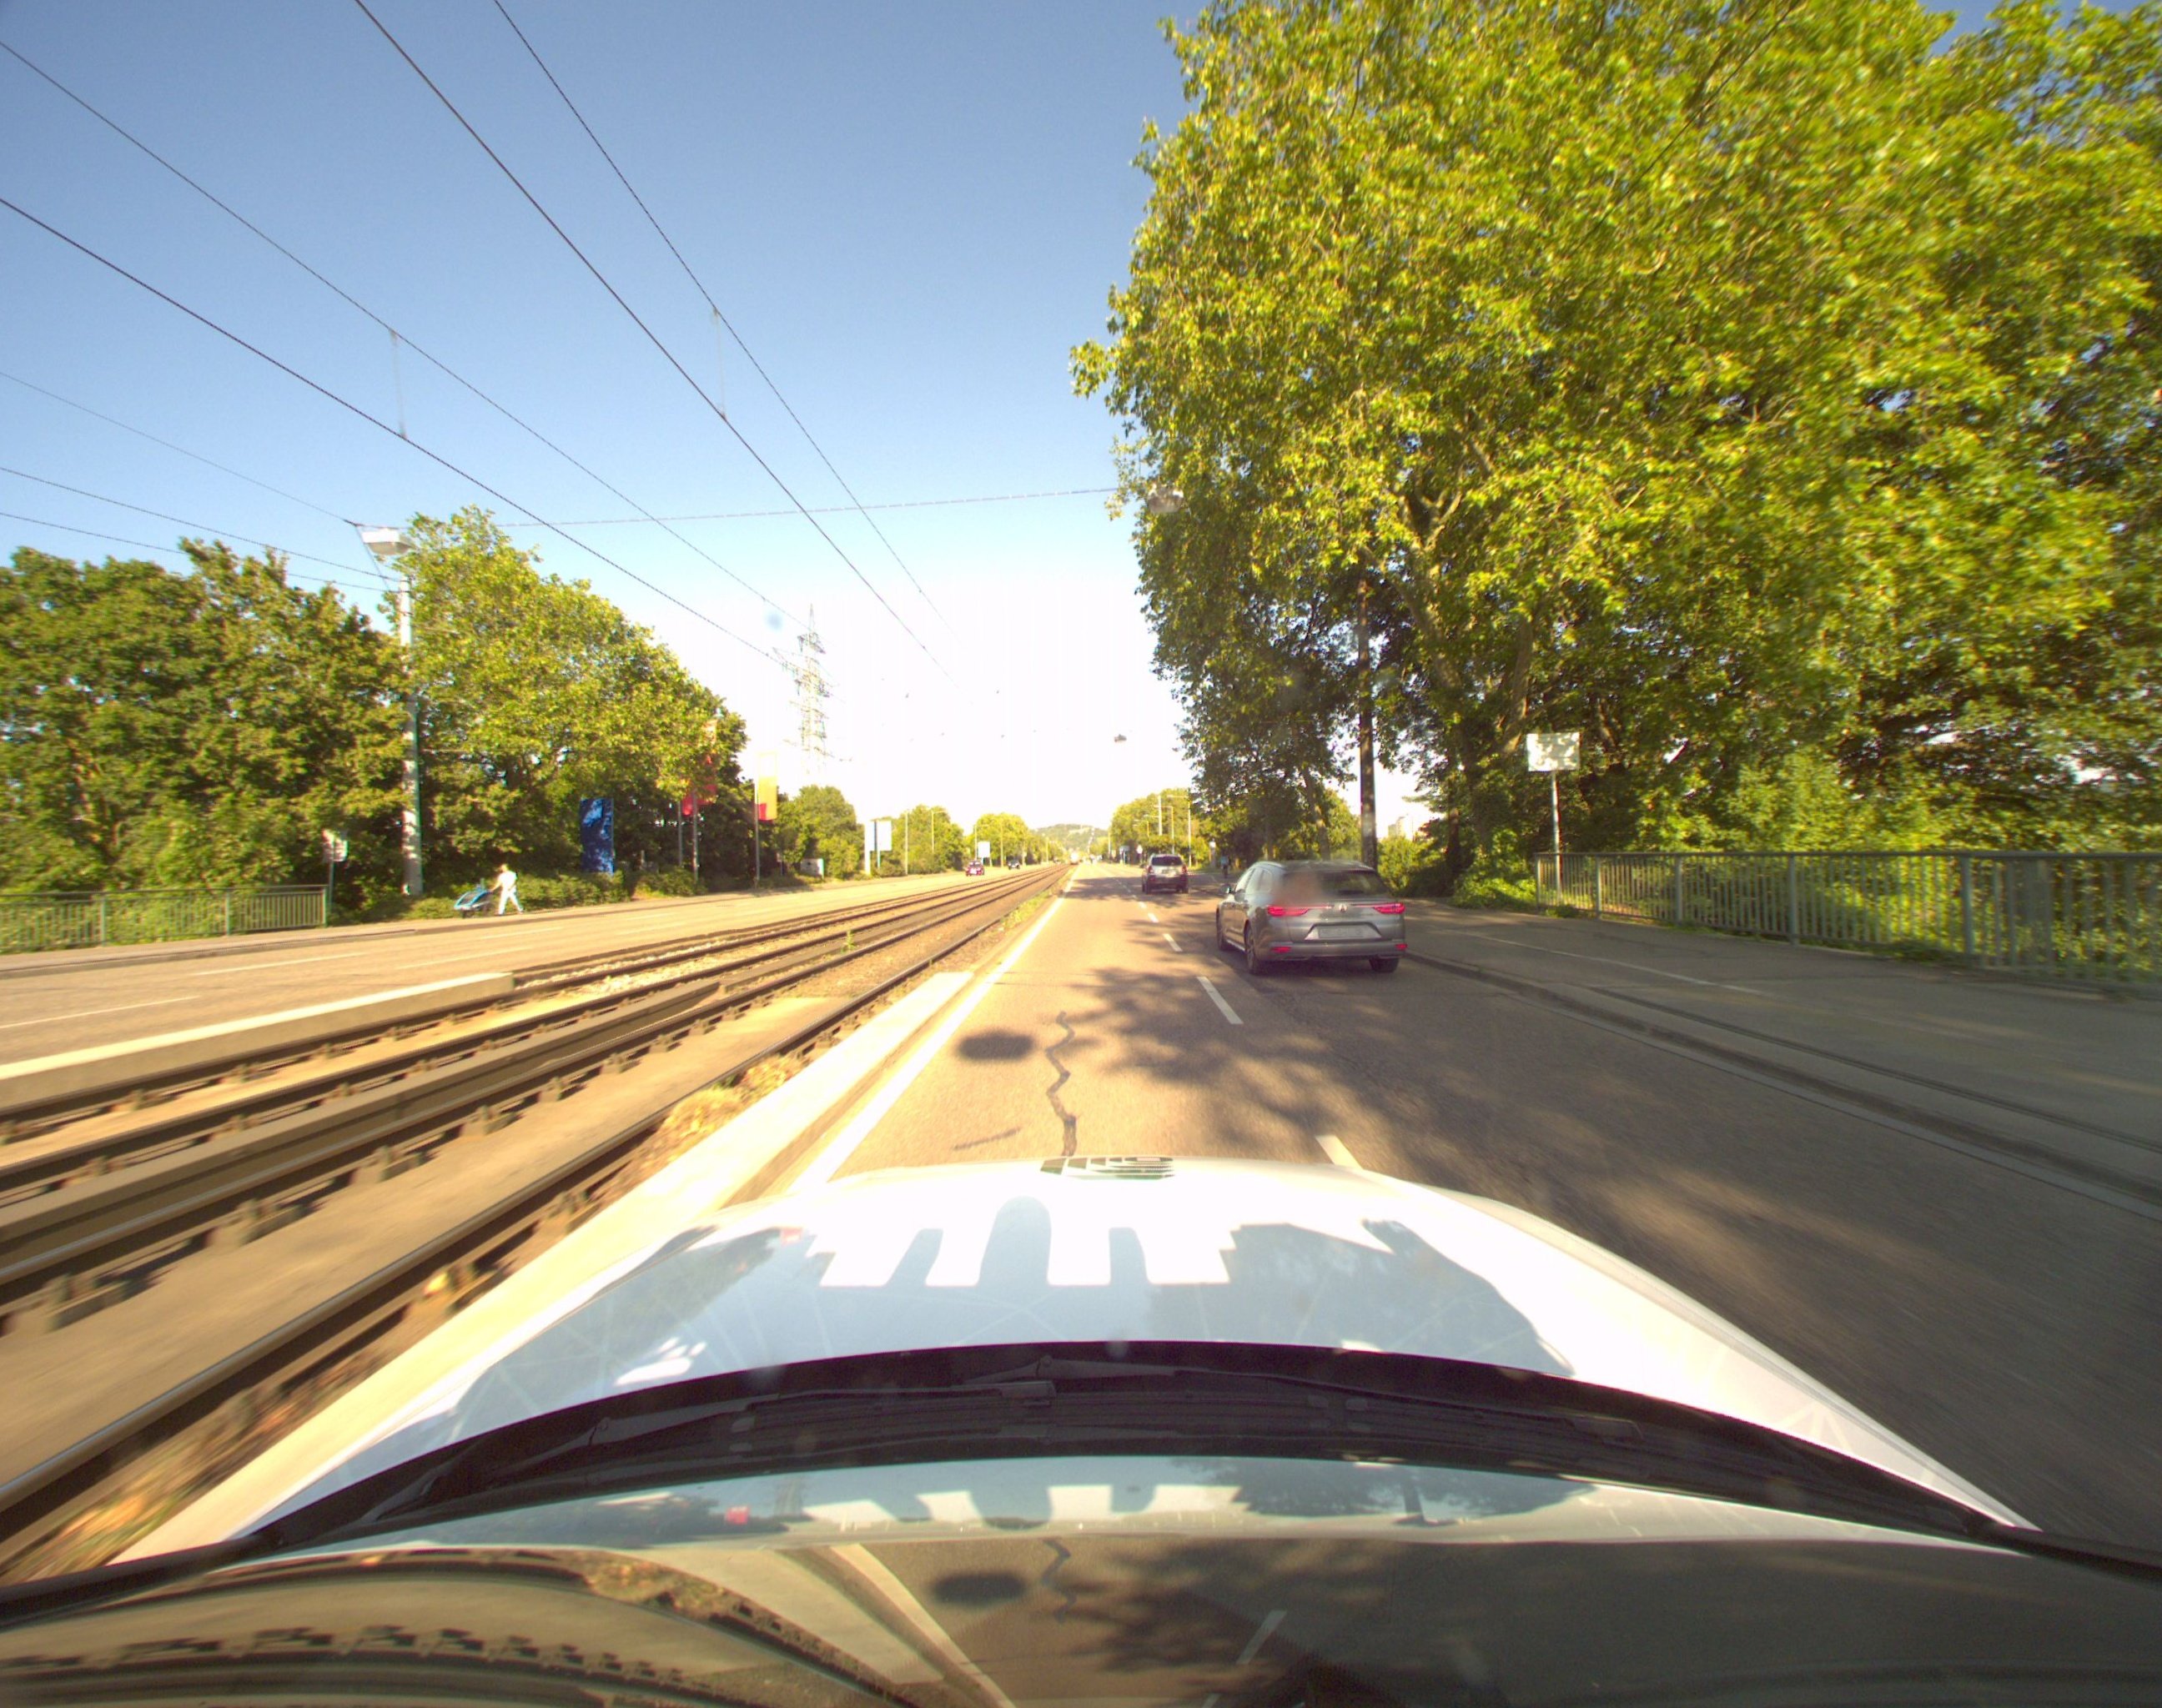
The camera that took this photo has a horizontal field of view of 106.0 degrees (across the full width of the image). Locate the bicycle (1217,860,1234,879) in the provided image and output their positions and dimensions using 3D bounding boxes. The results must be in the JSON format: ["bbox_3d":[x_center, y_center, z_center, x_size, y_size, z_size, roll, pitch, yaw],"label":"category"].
[{"bbox_3d":[9.163,0.993,51.686,0.791,1.094,1.896,-4,0,4],"label":"bicycle"}]

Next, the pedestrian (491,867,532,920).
[{"bbox_3d":[-19.268,1.333,27.566,0.718,1.756,0.840,1,-1,23],"label":"pedestrian"}]

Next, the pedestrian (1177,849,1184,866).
[{"bbox_3d":[10.823,0.402,88.784,0.624,1.871,0.624,1,0,0],"label":"pedestrian"}]

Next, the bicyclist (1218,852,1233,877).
[{"bbox_3d":[9.137,0.661,51.554,0.791,1.460,1.113,-4,0,4],"label":"bicyclist"}]

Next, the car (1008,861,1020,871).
[{"bbox_3d":[-12.119,2.160,147.571,1.900,1.644,3.998,1,0,-1],"label":"car"}]

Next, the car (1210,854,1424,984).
[{"bbox_3d":[3.085,0.767,11.711,1.859,1.467,4.668,-1,0,2],"label":"car"}]

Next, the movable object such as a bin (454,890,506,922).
[{"bbox_3d":[-19.663,1.692,26.662,0.718,0.961,1.107,1,-1,23],"label":"movable object such as a bin"}]

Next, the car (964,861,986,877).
[{"bbox_3d":[-12.194,1.728,93.877,1.856,1.720,4.001,-1,0,1],"label":"car"}]

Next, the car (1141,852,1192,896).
[{"bbox_3d":[3.709,0.834,36.042,1.877,1.795,4.000,1,0,1],"label":"car"}]
